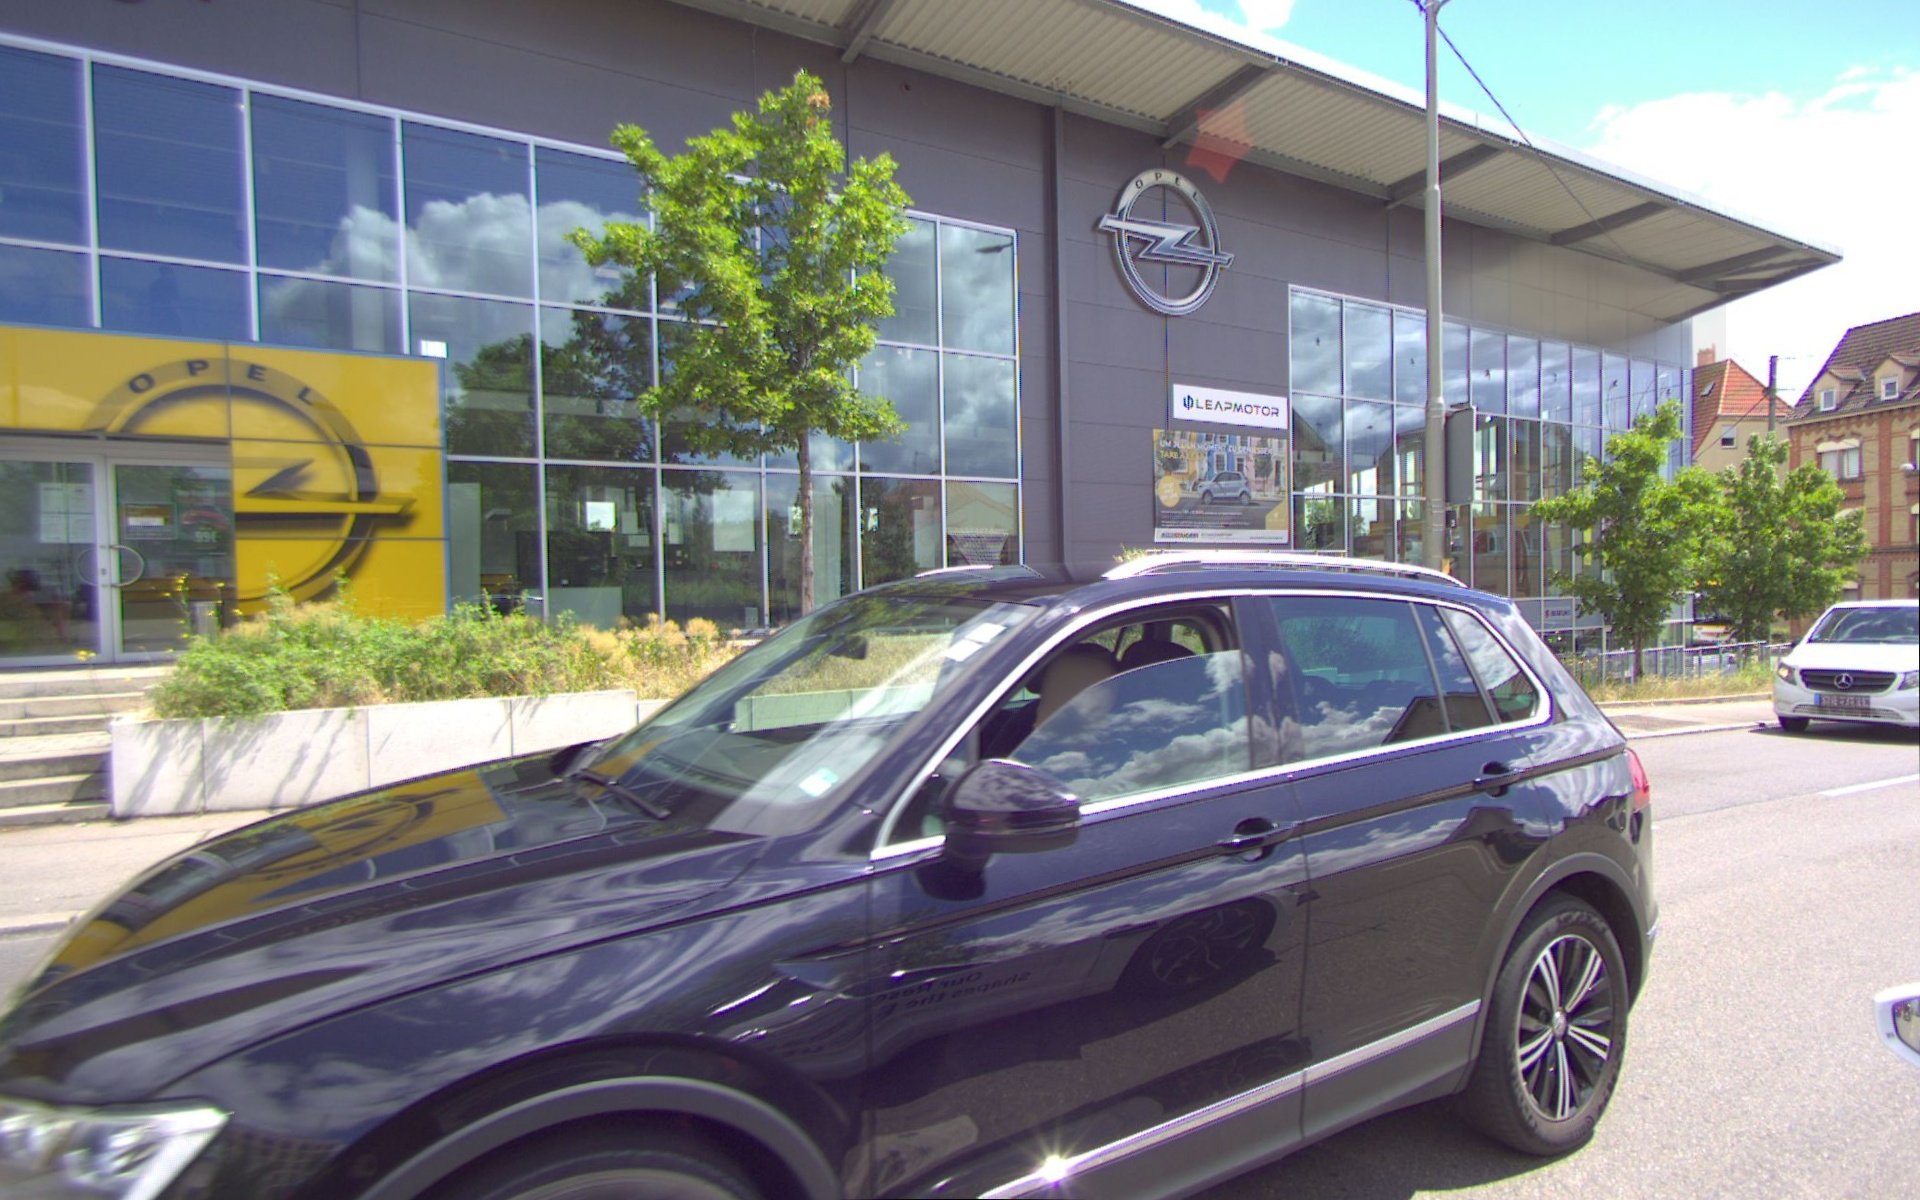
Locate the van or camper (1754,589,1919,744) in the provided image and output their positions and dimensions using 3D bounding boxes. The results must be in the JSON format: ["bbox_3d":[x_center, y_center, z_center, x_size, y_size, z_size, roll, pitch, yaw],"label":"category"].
[{"bbox_3d":[13.797,0.861,14.536,5.069,1.940,1.960,1,0,-31],"label":"van or camper"}]

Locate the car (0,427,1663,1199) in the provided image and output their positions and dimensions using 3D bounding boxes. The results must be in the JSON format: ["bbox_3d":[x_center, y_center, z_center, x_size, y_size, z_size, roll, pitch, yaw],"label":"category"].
[{"bbox_3d":[-0.193,0.615,2.633,4.059,1.561,1.854,1,0,-31],"label":"car"}]
